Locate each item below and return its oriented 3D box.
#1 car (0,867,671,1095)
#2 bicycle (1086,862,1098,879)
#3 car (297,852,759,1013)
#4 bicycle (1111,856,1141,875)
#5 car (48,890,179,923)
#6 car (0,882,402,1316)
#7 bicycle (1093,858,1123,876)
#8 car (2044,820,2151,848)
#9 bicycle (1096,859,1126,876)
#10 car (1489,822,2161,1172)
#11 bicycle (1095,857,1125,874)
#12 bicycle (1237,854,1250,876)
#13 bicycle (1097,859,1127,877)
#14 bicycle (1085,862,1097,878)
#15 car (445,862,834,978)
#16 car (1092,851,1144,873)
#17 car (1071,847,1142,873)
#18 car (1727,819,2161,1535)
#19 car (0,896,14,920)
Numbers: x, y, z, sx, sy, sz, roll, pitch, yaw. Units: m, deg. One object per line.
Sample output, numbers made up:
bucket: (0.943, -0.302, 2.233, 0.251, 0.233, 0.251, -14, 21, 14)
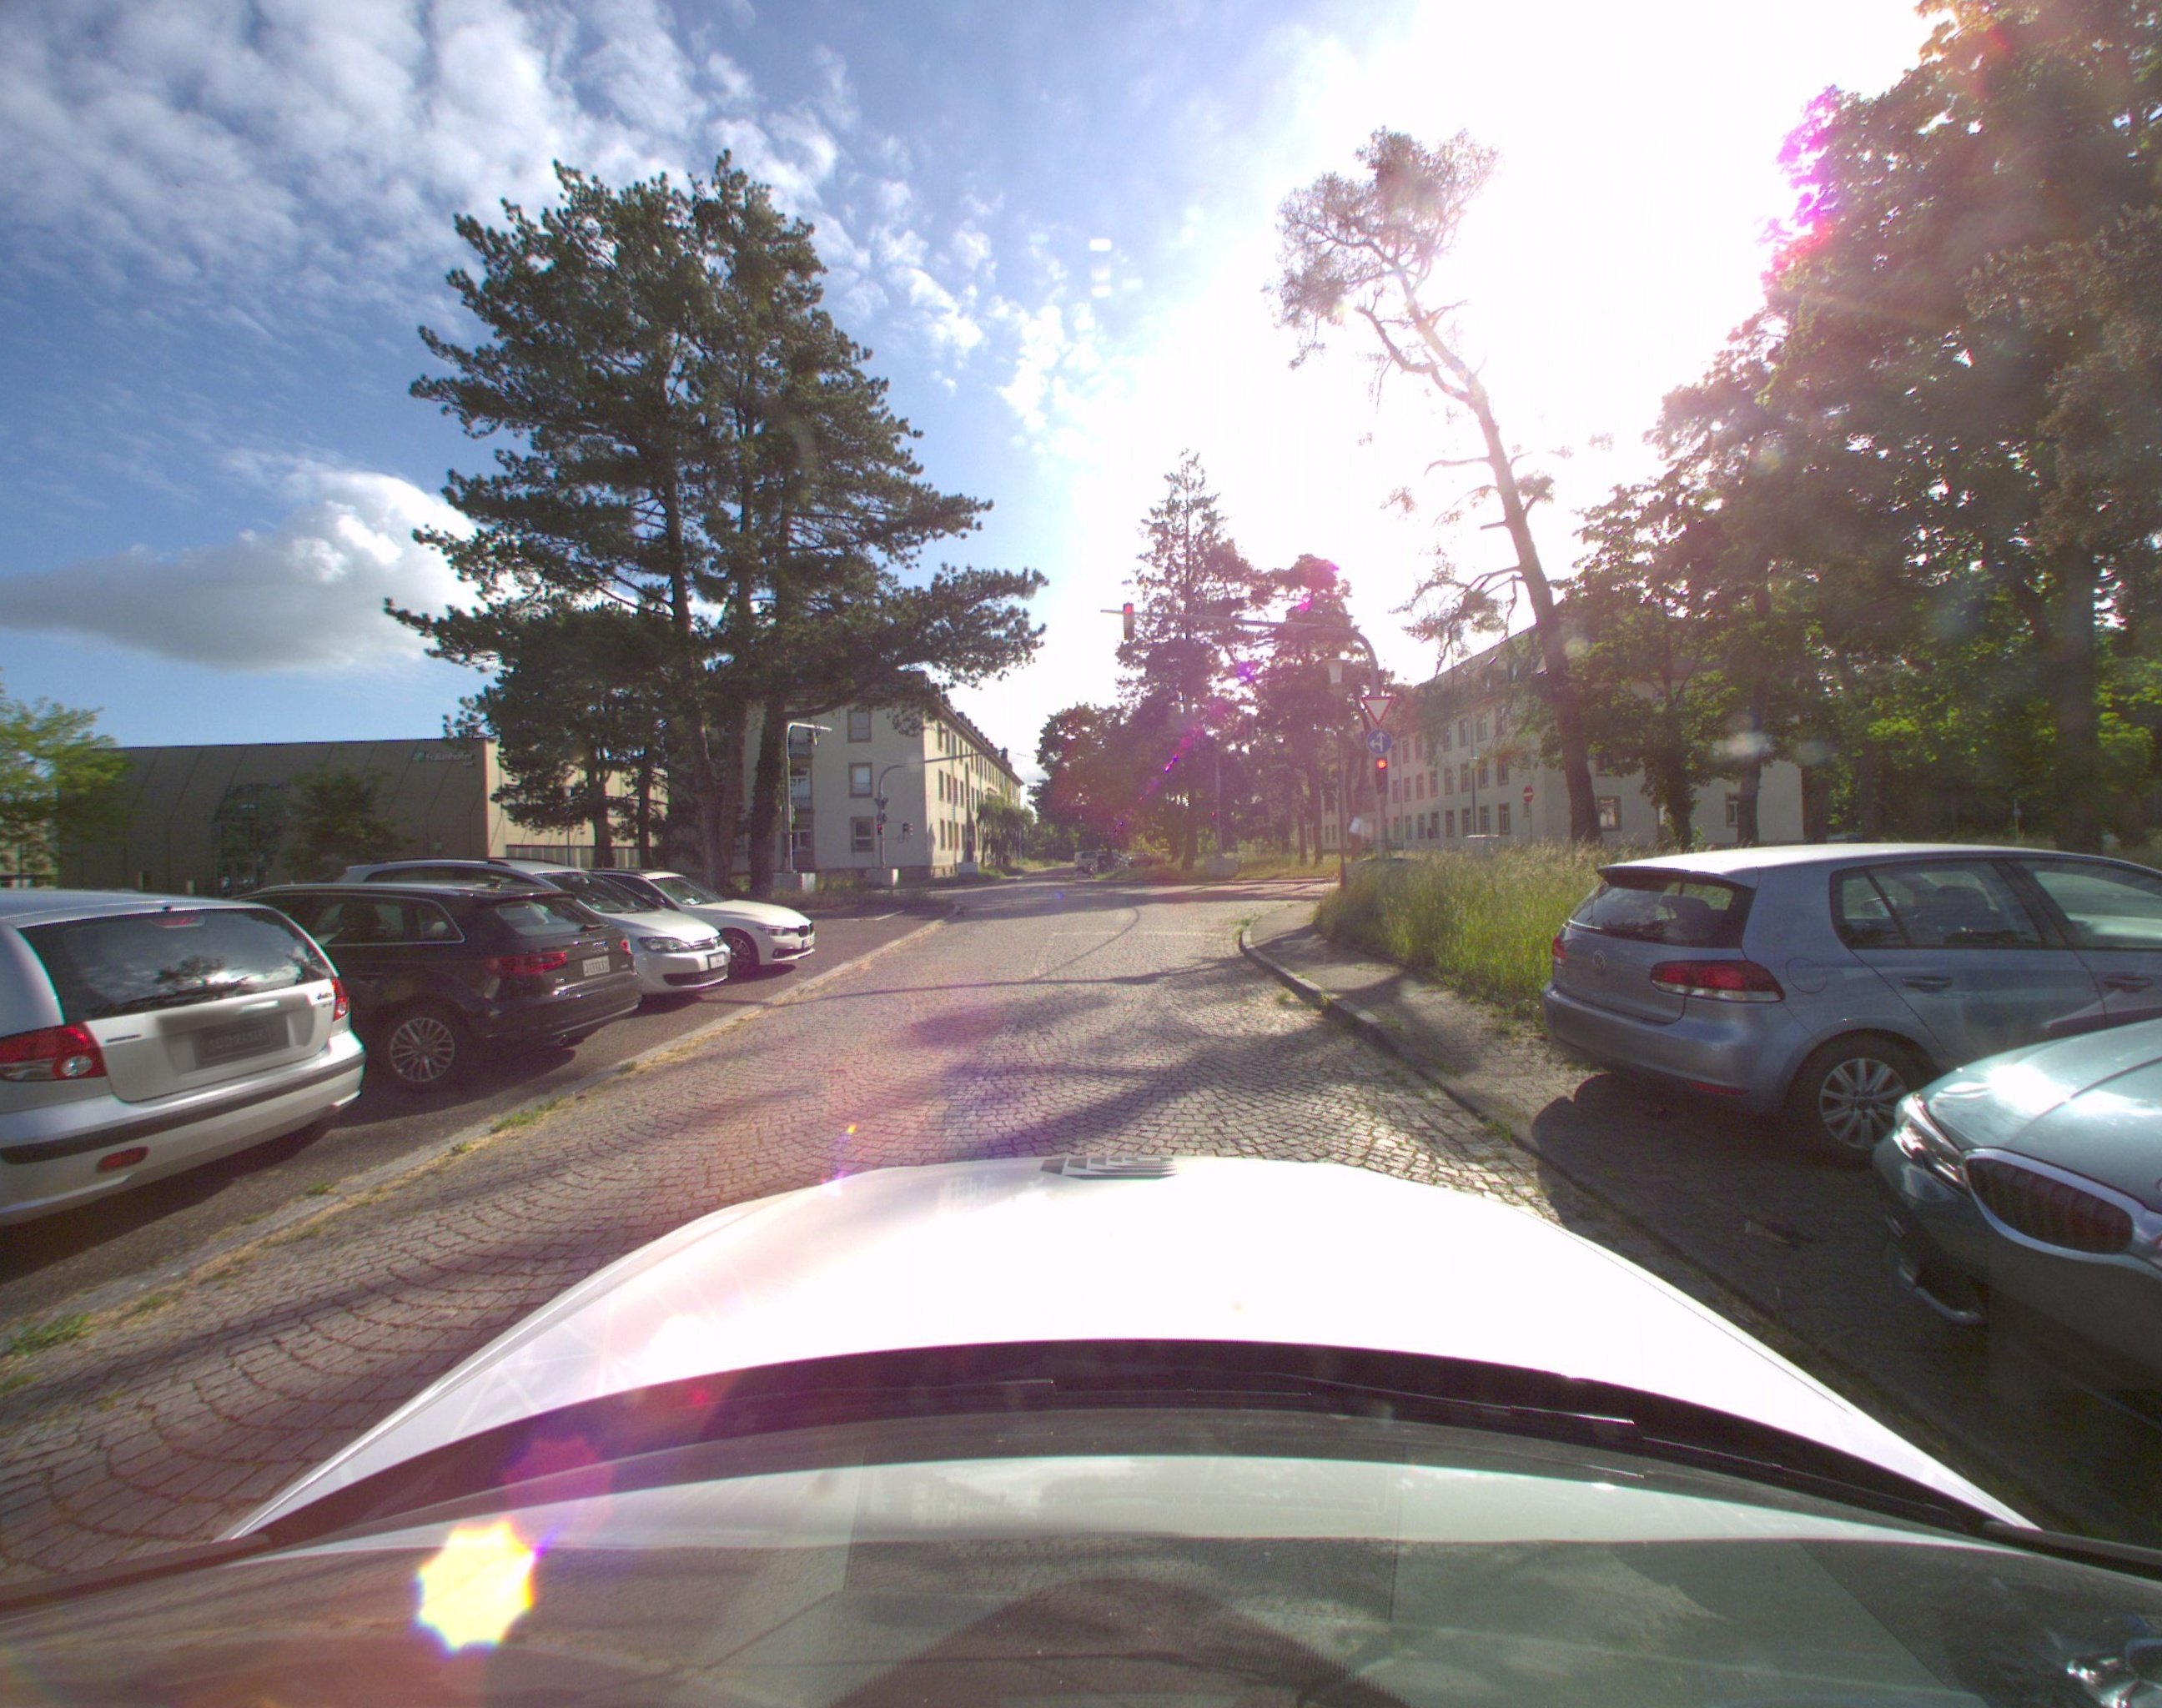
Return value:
car: (-5.578, 0.884, 6.403, 3.785, 1.471, 1.687, 1, 0, -1)
bicycle: (0.667, 1.000, 49.954, 0.693, 0.971, 1.860, -1, 0, -1)
car: (-5.972, 0.819, 9.208, 3.935, 1.626, 1.720, 1, 0, -4)
bicycle: (3.022, 0.760, 54.936, 1.936, 1.235, 0.485, -2, 0, -3)
car: (-47.677, 2.552, 40.280, 1.480, 1.294, 4.055, -2, 0, 3)
car: (-5.540, 0.897, 3.691, 3.455, 1.471, 1.635, 1, 0, -2)
bicycle: (1.828, 0.863, 55.457, 1.951, 1.129, 0.642, -2, 0, -26)
car: (58.330, -1.131, 46.762, 3.977, 1.464, 1.845, -2, 0, -3)
bicycle: (1.971, 0.858, 53.443, 1.850, 1.031, 0.749, -2, 0, -2)
car: (4.805, 0.622, 4.625, 4.002, 1.460, 1.871, -3, 0, 0)
bicycle: (2.014, 0.815, 56.575, 1.937, 1.129, 0.647, -2, 0, -5)
bicycle: (8.228, 0.559, 41.260, 0.463, 1.080, 1.175, -2, -1, 4)
bicycle: (2.071, 0.900, 54.239, 1.936, 1.129, 0.749, -2, 0, -3)
bicycle: (0.627, 0.992, 51.906, 0.693, 0.971, 1.860, -1, 0, -1)
car: (-6.083, 0.890, 11.647, 4.529, 1.467, 1.751, 1, 0, -2)
car: (3.049, 0.682, 67.176, 3.983, 1.684, 1.843, -2, 0, -7)
car: (2.223, 0.506, 71.568, 5.923, 2.013, 2.470, -2, 0, -6)
car: (4.532, 0.599, 2.001, 4.483, 1.516, 1.824, -3, 0, -3)
car: (-56.950, 2.829, 40.822, 1.480, 1.205, 4.005, -2, 0, 4)
